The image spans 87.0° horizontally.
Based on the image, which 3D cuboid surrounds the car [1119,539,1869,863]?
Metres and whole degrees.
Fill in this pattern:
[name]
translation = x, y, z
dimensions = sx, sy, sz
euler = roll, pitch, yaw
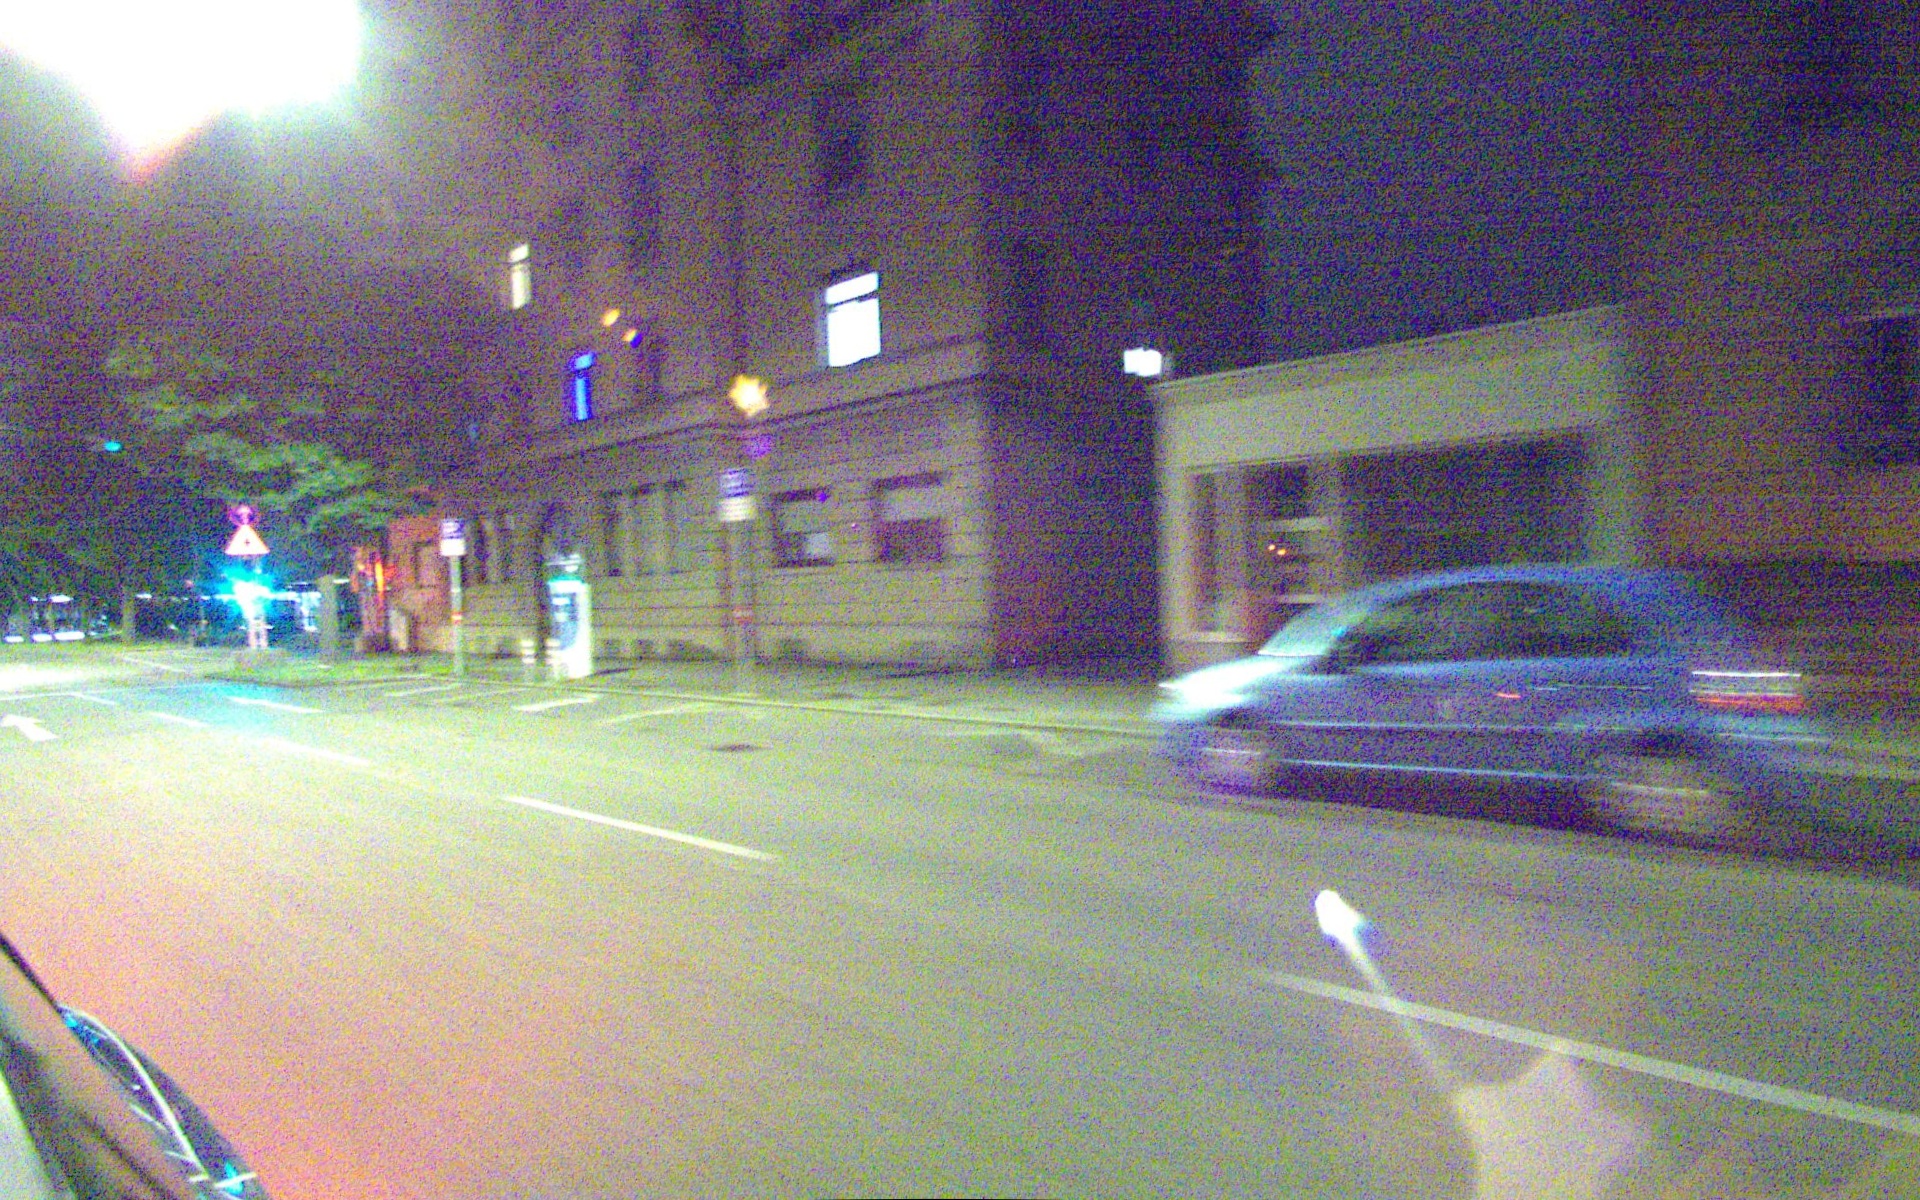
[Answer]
[car]
translation = 3.229, 0.486, 6.650
dimensions = 3.987, 1.505, 1.696
euler = -2, 1, 41
